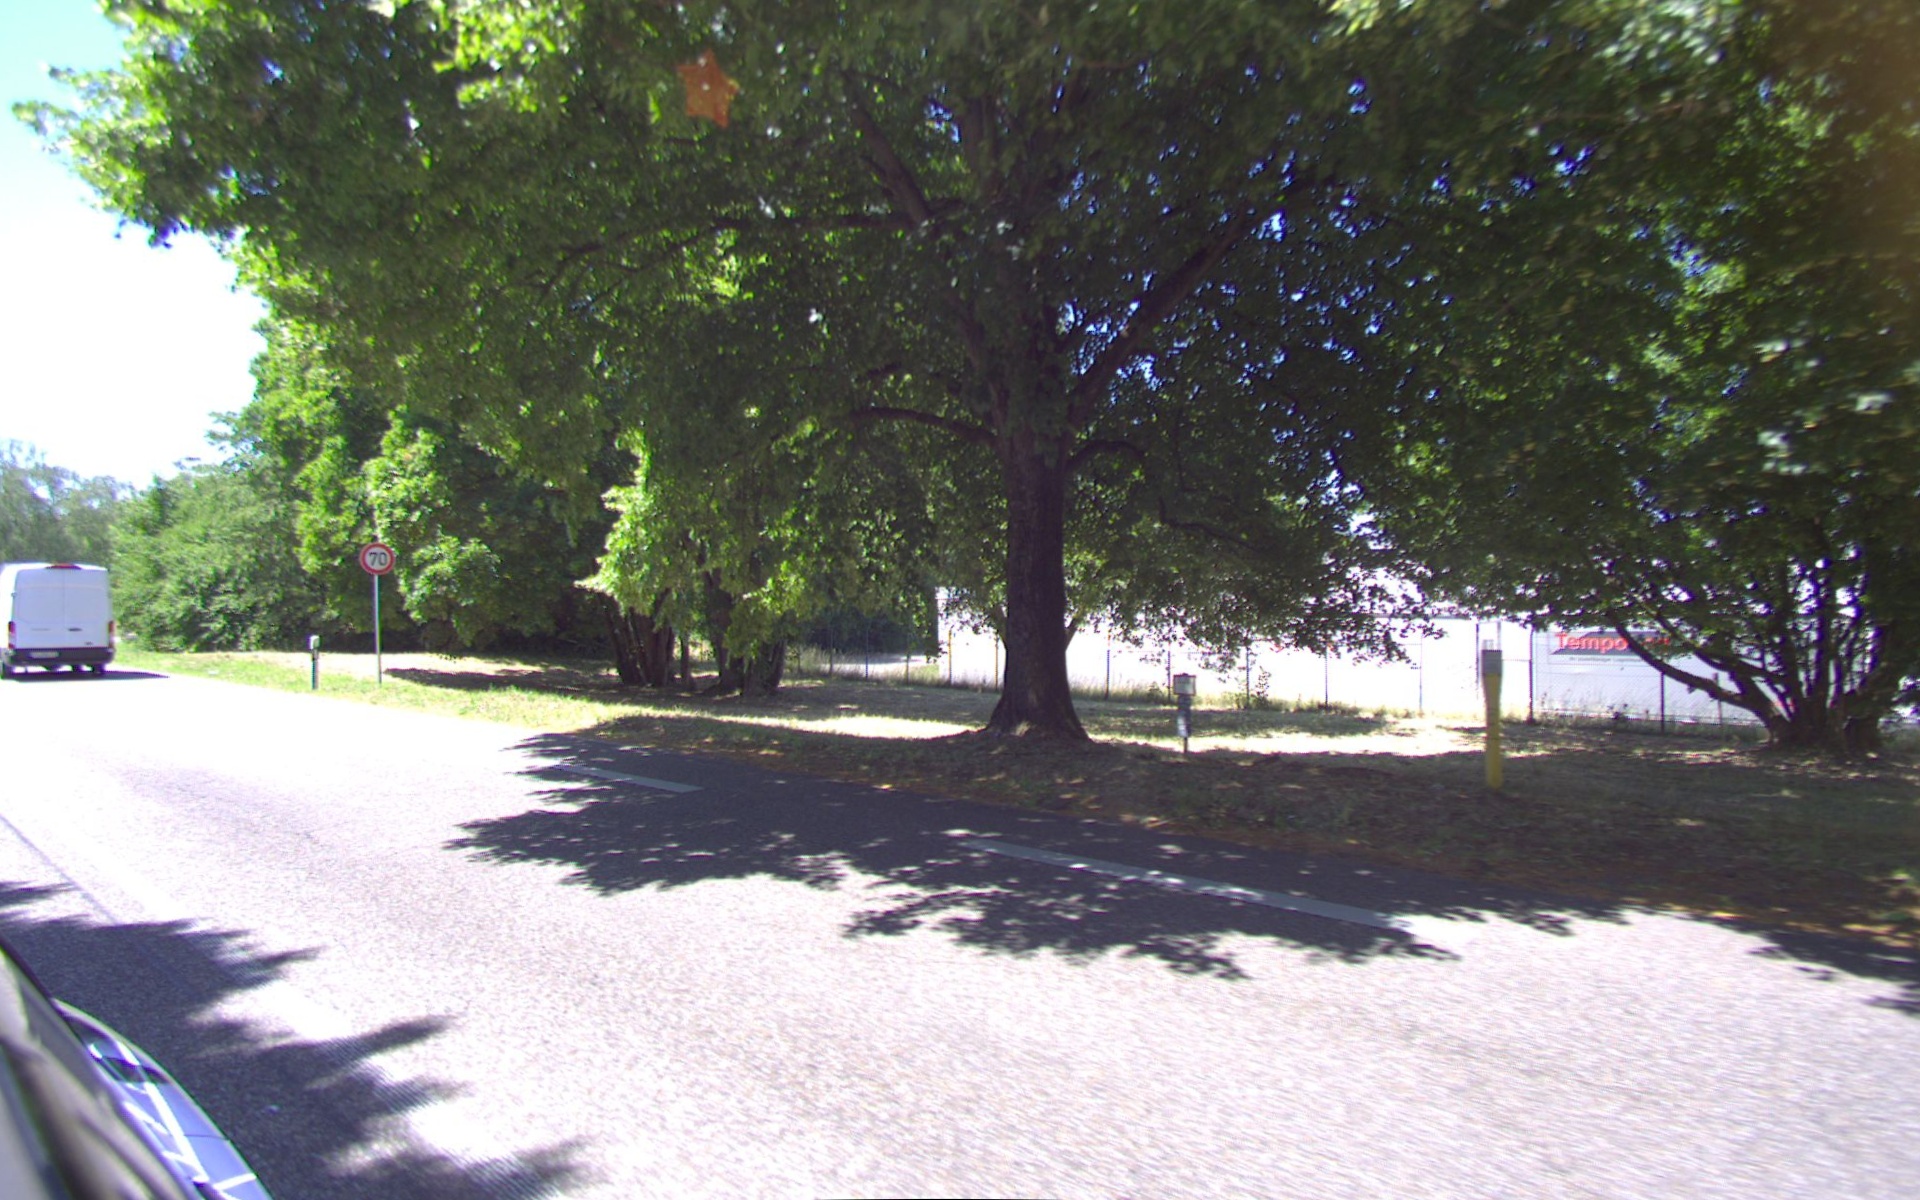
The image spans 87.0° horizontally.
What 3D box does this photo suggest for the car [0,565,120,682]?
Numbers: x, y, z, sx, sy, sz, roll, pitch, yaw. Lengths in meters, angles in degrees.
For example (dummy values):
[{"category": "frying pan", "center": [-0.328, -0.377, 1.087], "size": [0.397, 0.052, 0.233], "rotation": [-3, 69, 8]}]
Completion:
[{"category": "car", "center": [-23.398, 0.568, 25.876], "size": [6.783, 2.647, 2.051], "rotation": [-1, -1, 43]}]
